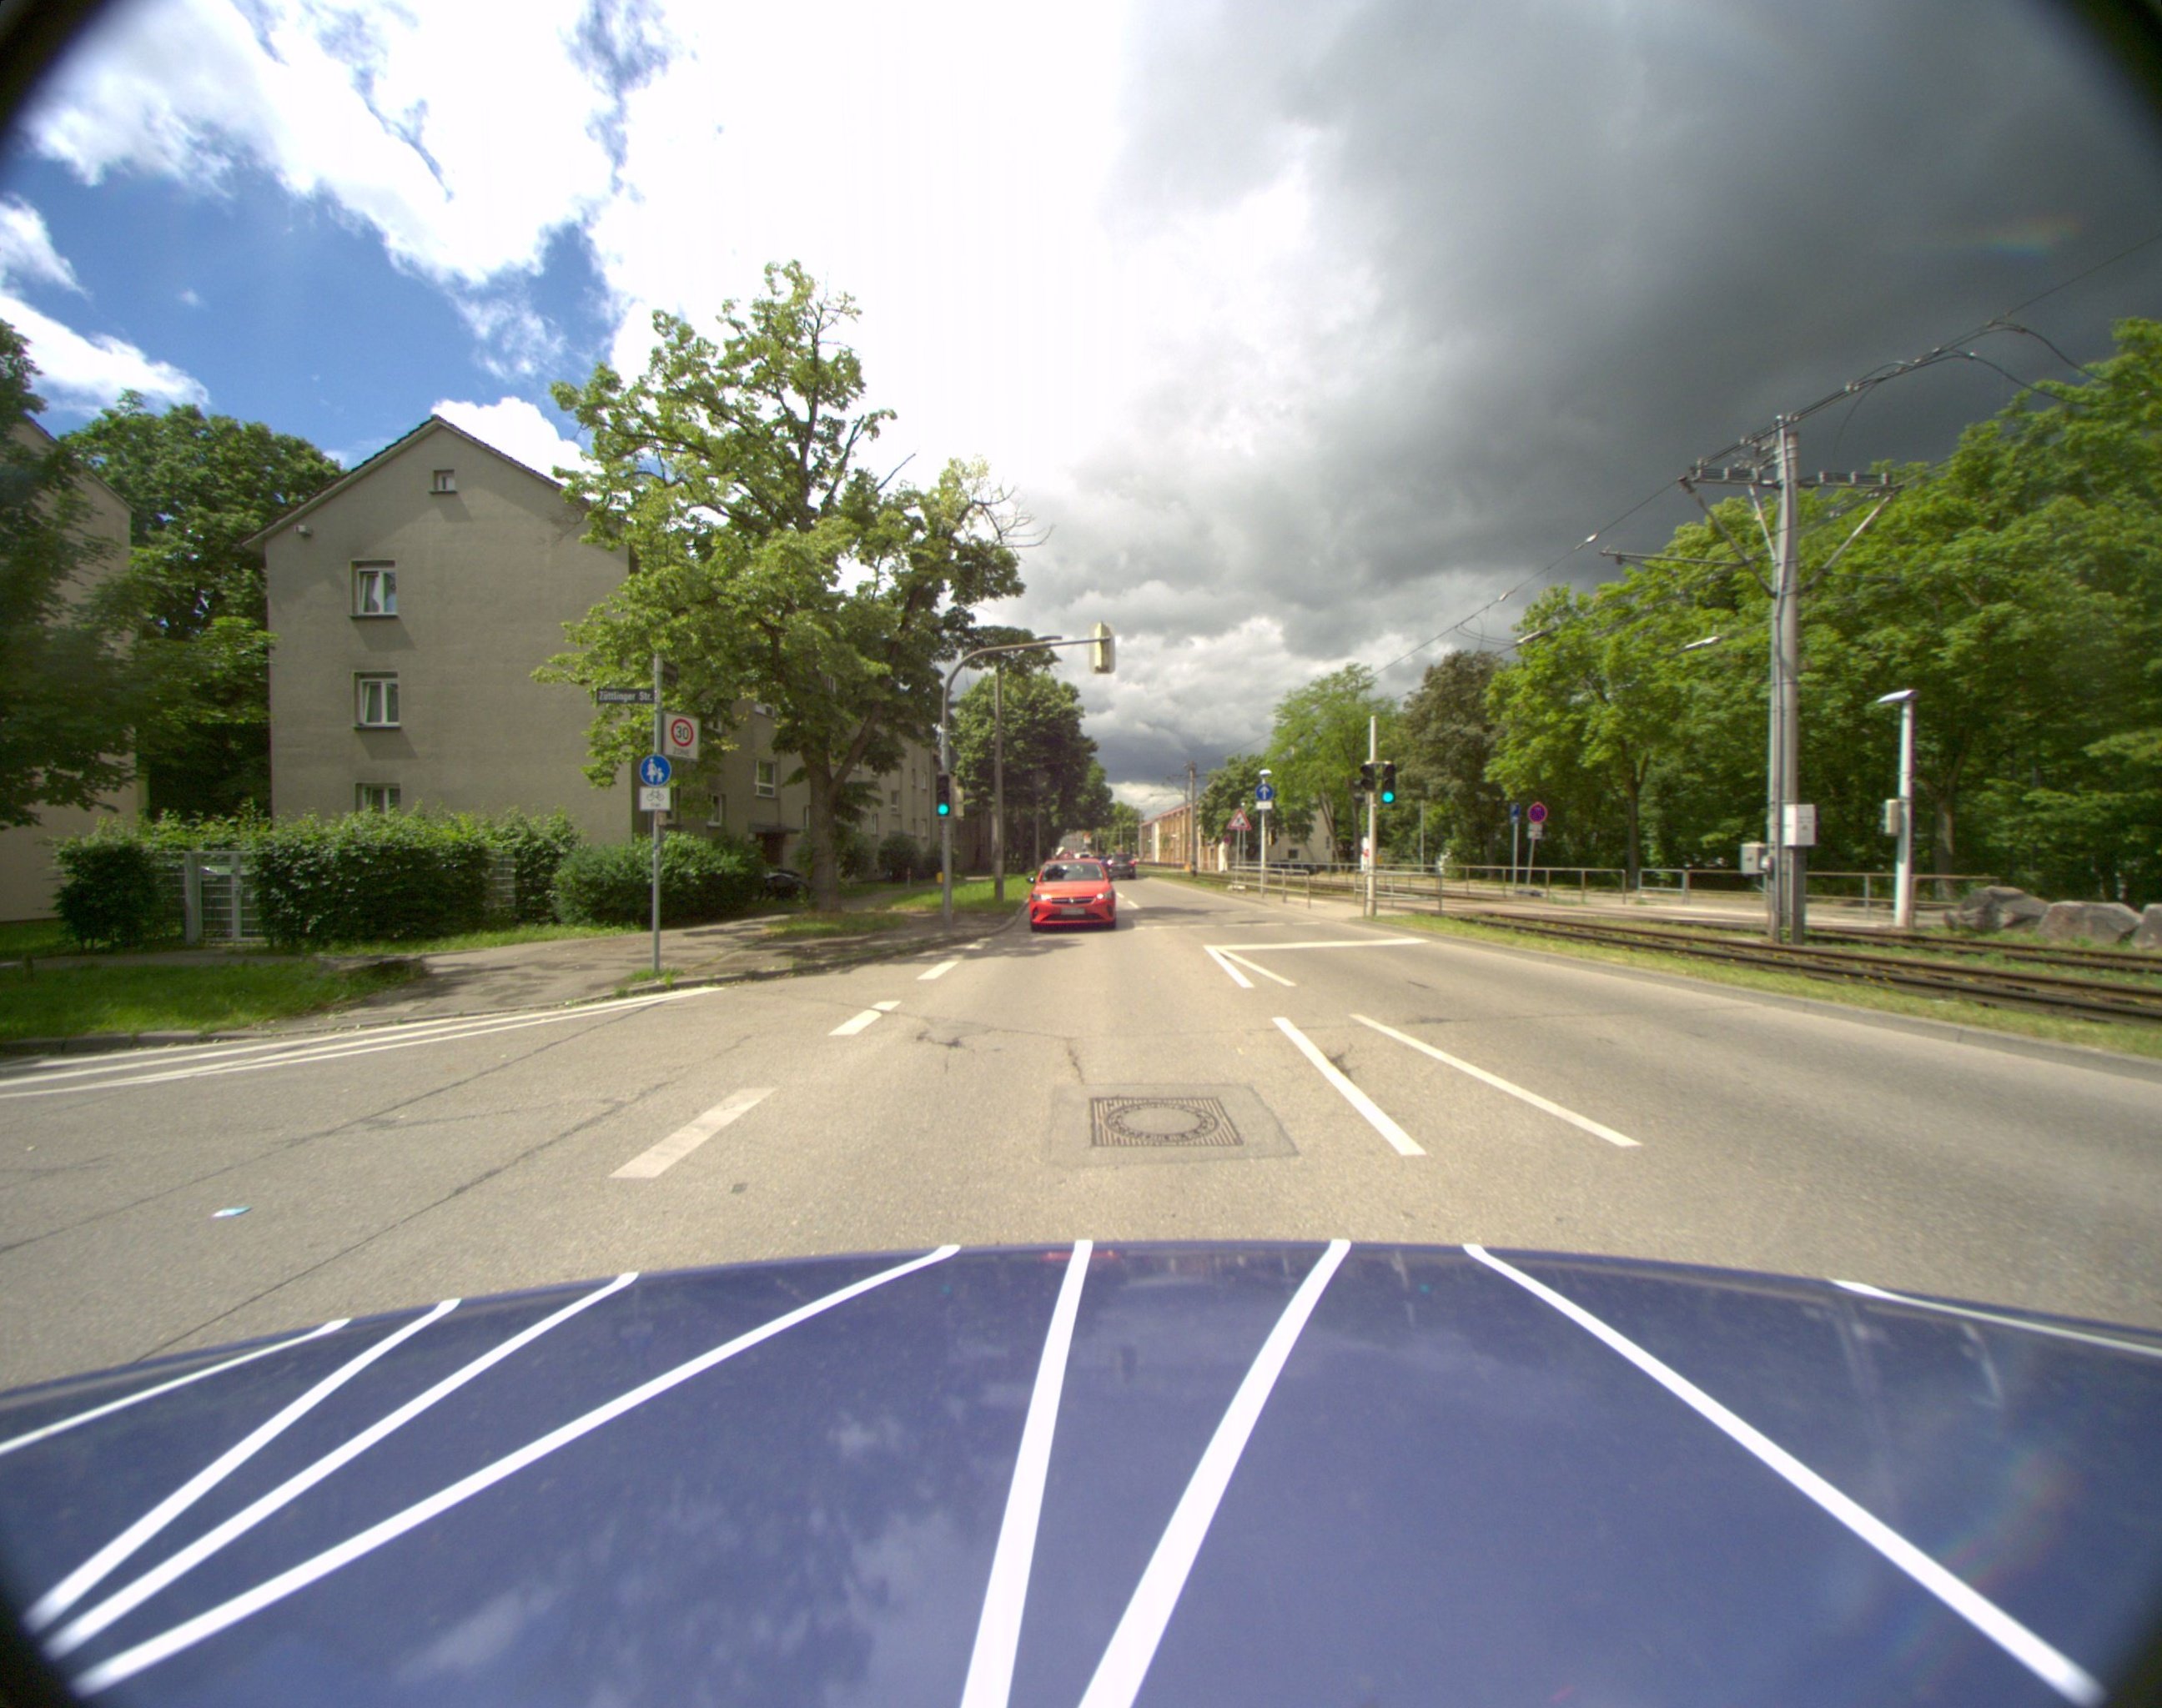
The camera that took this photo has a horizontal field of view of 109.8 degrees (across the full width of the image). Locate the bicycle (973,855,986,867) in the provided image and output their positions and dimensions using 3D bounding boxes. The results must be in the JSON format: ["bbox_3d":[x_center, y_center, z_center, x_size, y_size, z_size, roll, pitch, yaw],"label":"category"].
[{"bbox_3d":[-9.639,0.649,72.089,0.437,1.074,1.749,-3,1,-36],"label":"bicycle"}]

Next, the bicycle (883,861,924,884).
[{"bbox_3d":[-8.409,0.868,36.005,1.802,1.078,0.455,0,1,4],"label":"bicycle"}]

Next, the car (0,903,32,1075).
[{"bbox_3d":[-11.663,1.269,5.837,4.000,1.545,1.937,-1,0,-9],"label":"car"}]

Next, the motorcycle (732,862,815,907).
[{"bbox_3d":[-9.123,0.901,22.593,2.208,1.275,0.681,0,2,7],"label":"motorcycle"}]

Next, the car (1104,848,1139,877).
[{"bbox_3d":[2.495,0.499,47.318,1.712,1.666,4.227,-2,0,-3],"label":"car"}]

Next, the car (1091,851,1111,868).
[{"bbox_3d":[1.971,0.533,75.021,1.721,1.535,4.000,-2,0,-2],"label":"car"}]

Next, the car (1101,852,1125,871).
[{"bbox_3d":[2.742,0.622,65.408,1.717,1.557,4.165,-2,0,-2],"label":"car"}]

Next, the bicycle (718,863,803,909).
[{"bbox_3d":[-9.212,0.913,21.869,2.171,1.275,0.681,0,2,7],"label":"bicycle"}]

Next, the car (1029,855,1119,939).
[{"bbox_3d":[-0.177,0.819,16.238,1.666,1.513,3.785,-1,0,-1],"label":"car"}]

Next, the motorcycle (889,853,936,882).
[{"bbox_3d":[-8.199,0.651,37.006,2.000,1.421,1.018,0,0,9],"label":"motorcycle"}]

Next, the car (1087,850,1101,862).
[{"bbox_3d":[1.625,0.222,97.172,1.585,1.477,3.806,-2,0,-1],"label":"car"}]

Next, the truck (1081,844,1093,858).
[{"bbox_3d":[1.186,-0.601,155.820,2.097,2.723,5.095,-2,1,-4],"label":"truck"}]
